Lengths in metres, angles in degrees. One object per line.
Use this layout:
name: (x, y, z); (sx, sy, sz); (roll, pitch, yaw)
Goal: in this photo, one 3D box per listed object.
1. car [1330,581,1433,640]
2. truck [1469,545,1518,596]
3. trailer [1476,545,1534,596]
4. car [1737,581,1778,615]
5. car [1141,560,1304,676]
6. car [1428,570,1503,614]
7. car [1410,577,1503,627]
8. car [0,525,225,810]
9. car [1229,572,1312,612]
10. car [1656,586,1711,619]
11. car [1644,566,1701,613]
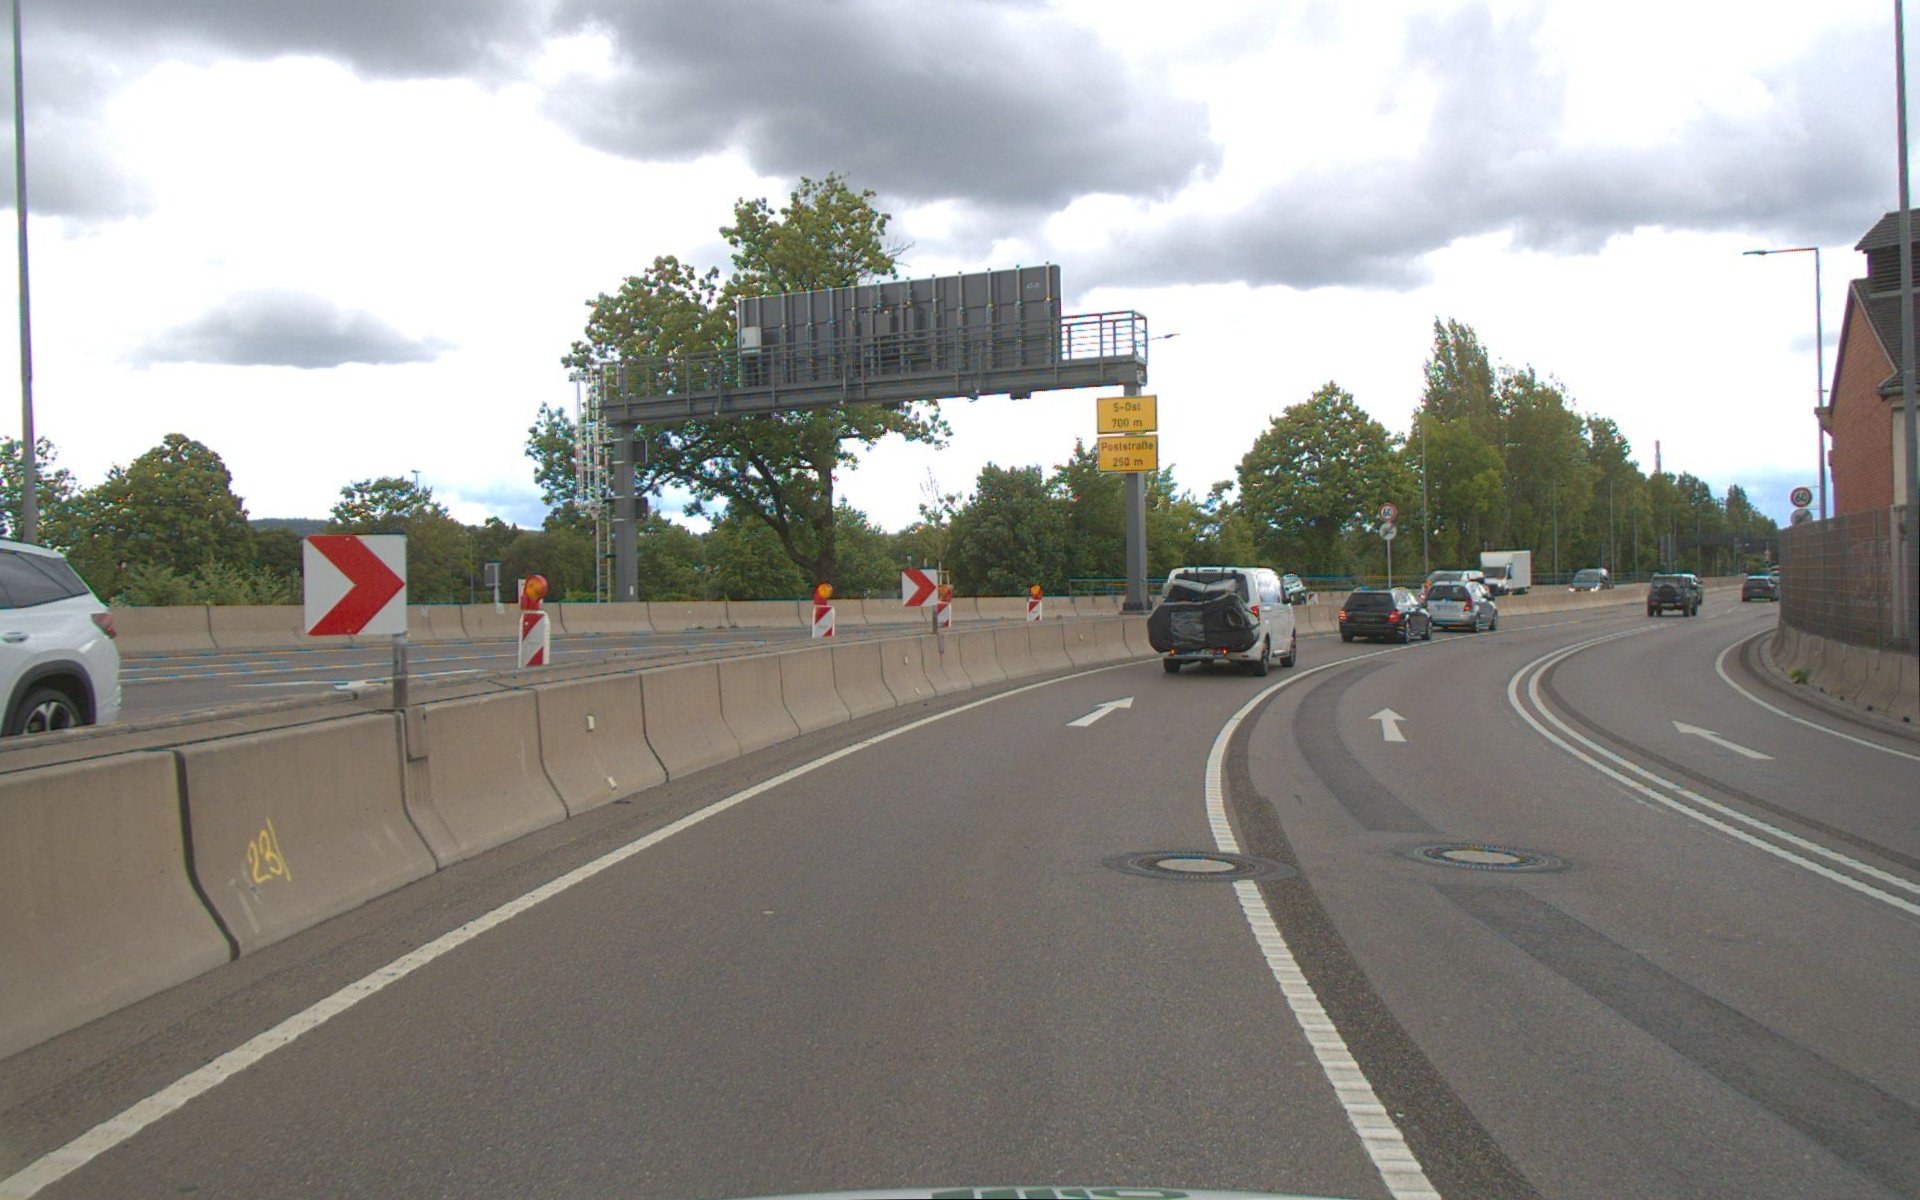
car: (11.341, 0.257, 44.365); (1.780, 1.459, 4.060); (-2, 0, 28)
truck: (33.424, -1.845, 103.605); (2.232, 3.168, 2.979); (1, 1, 33)
trailer: (34.979, -1.850, 106.078); (2.231, 3.192, 5.698); (1, 1, 32)
car: (46.655, -0.090, 96.692); (1.955, 1.937, 3.994); (-1, 0, 28)
car: (4.929, 0.277, 30.363); (1.951, 1.891, 5.642); (1, 1, 19)
car: (22.480, -0.375, 73.445); (1.915, 1.838, 5.781); (1, 1, 30)
car: (15.811, 0.036, 52.565); (1.885, 1.515, 4.056); (0, 1, 31)
car: (-6.394, 0.364, 8.892); (2.053, 1.579, 5.147); (1, 1, 8)
car: (13.841, -0.364, 73.642); (1.959, 1.701, 4.714); (1, 1, 33)
car: (38.788, 0.117, 88.662); (1.959, 1.702, 3.986); (1, 1, 35)
car: (30.134, -0.423, 69.908); (1.955, 1.892, 3.995); (-1, 0, 27)
